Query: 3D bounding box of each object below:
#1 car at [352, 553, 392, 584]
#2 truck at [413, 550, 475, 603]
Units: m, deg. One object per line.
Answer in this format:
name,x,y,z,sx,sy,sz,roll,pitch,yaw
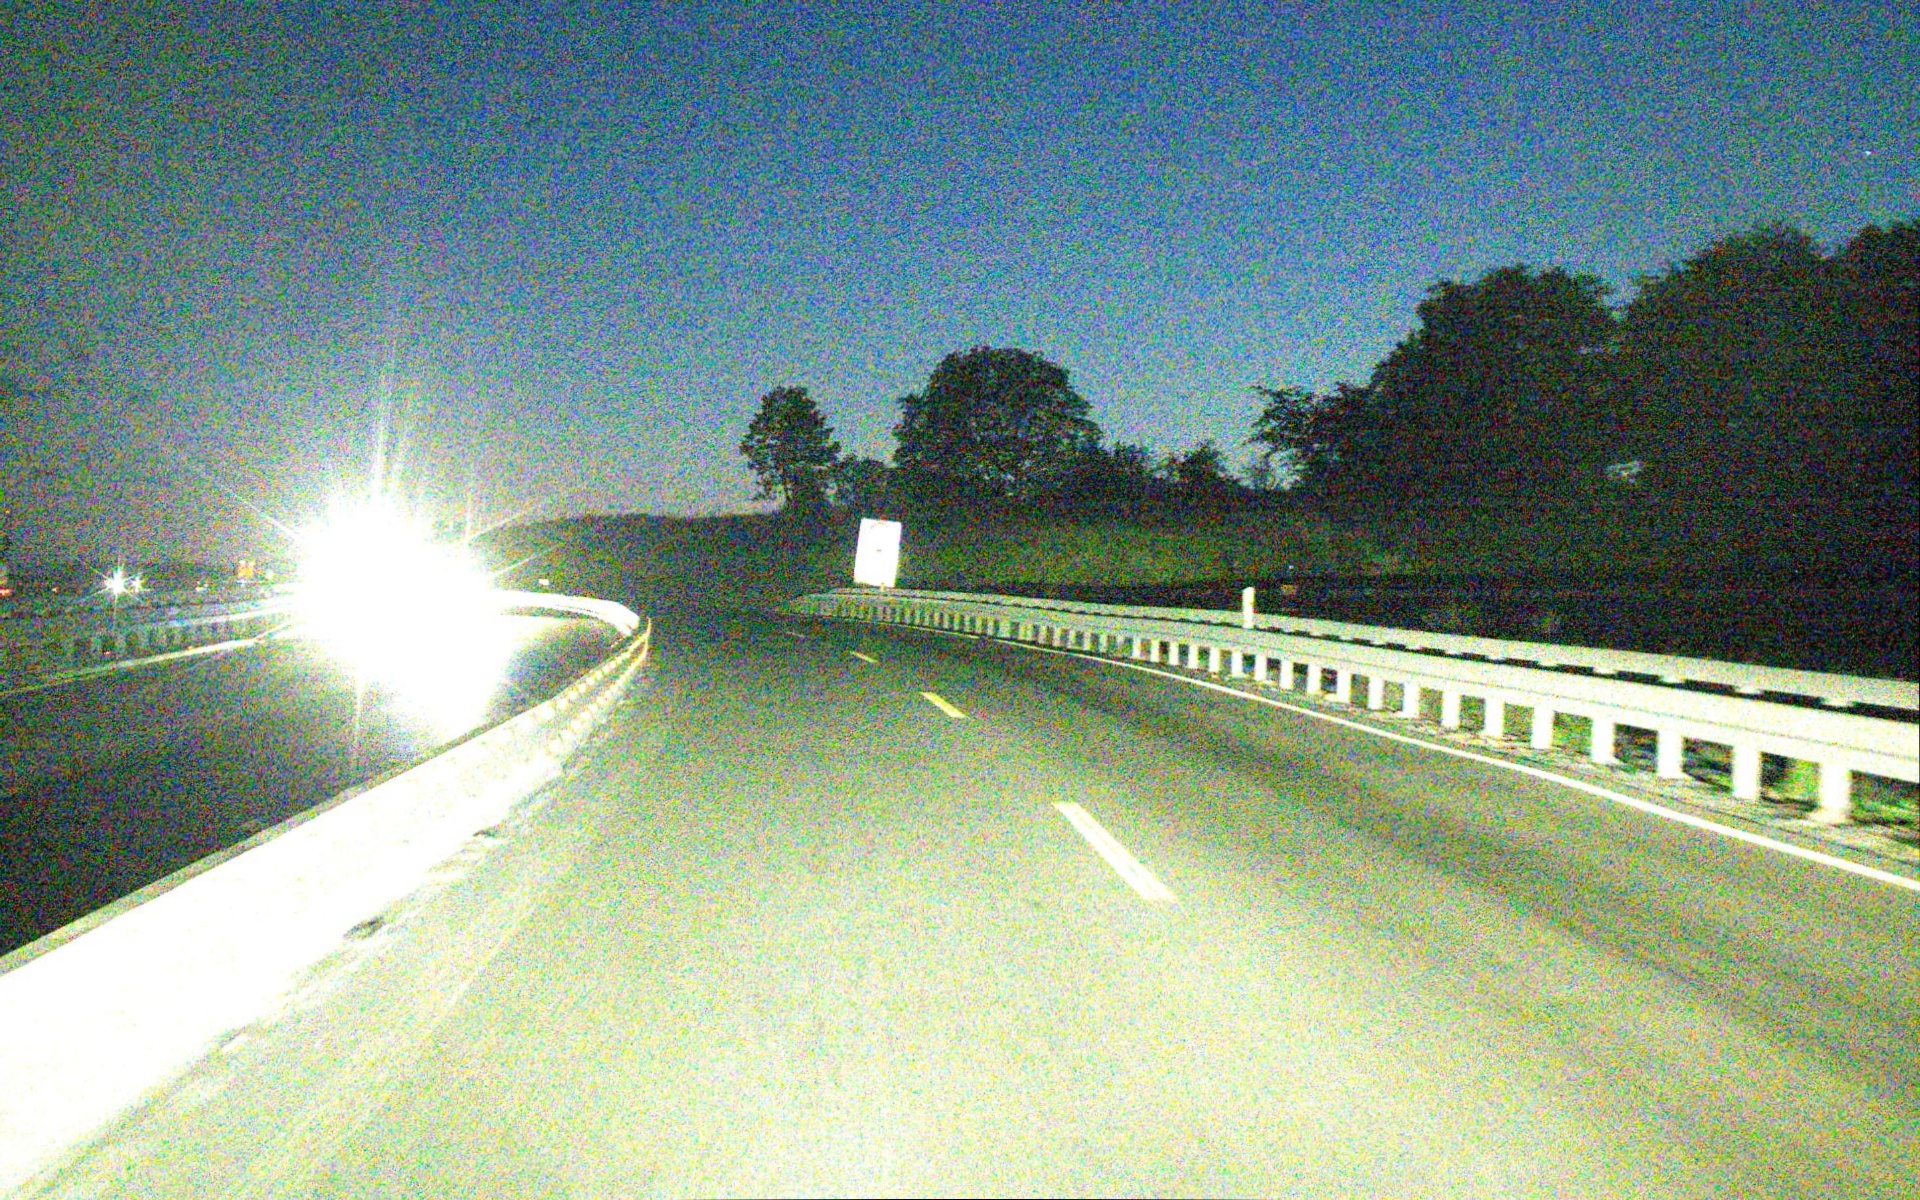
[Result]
car,-28.785,-1.548,168.356,1.712,1.439,4.488,-1,0,-12
truck,-14.870,-0.658,99.180,1.682,1.465,4.154,1,0,-8
